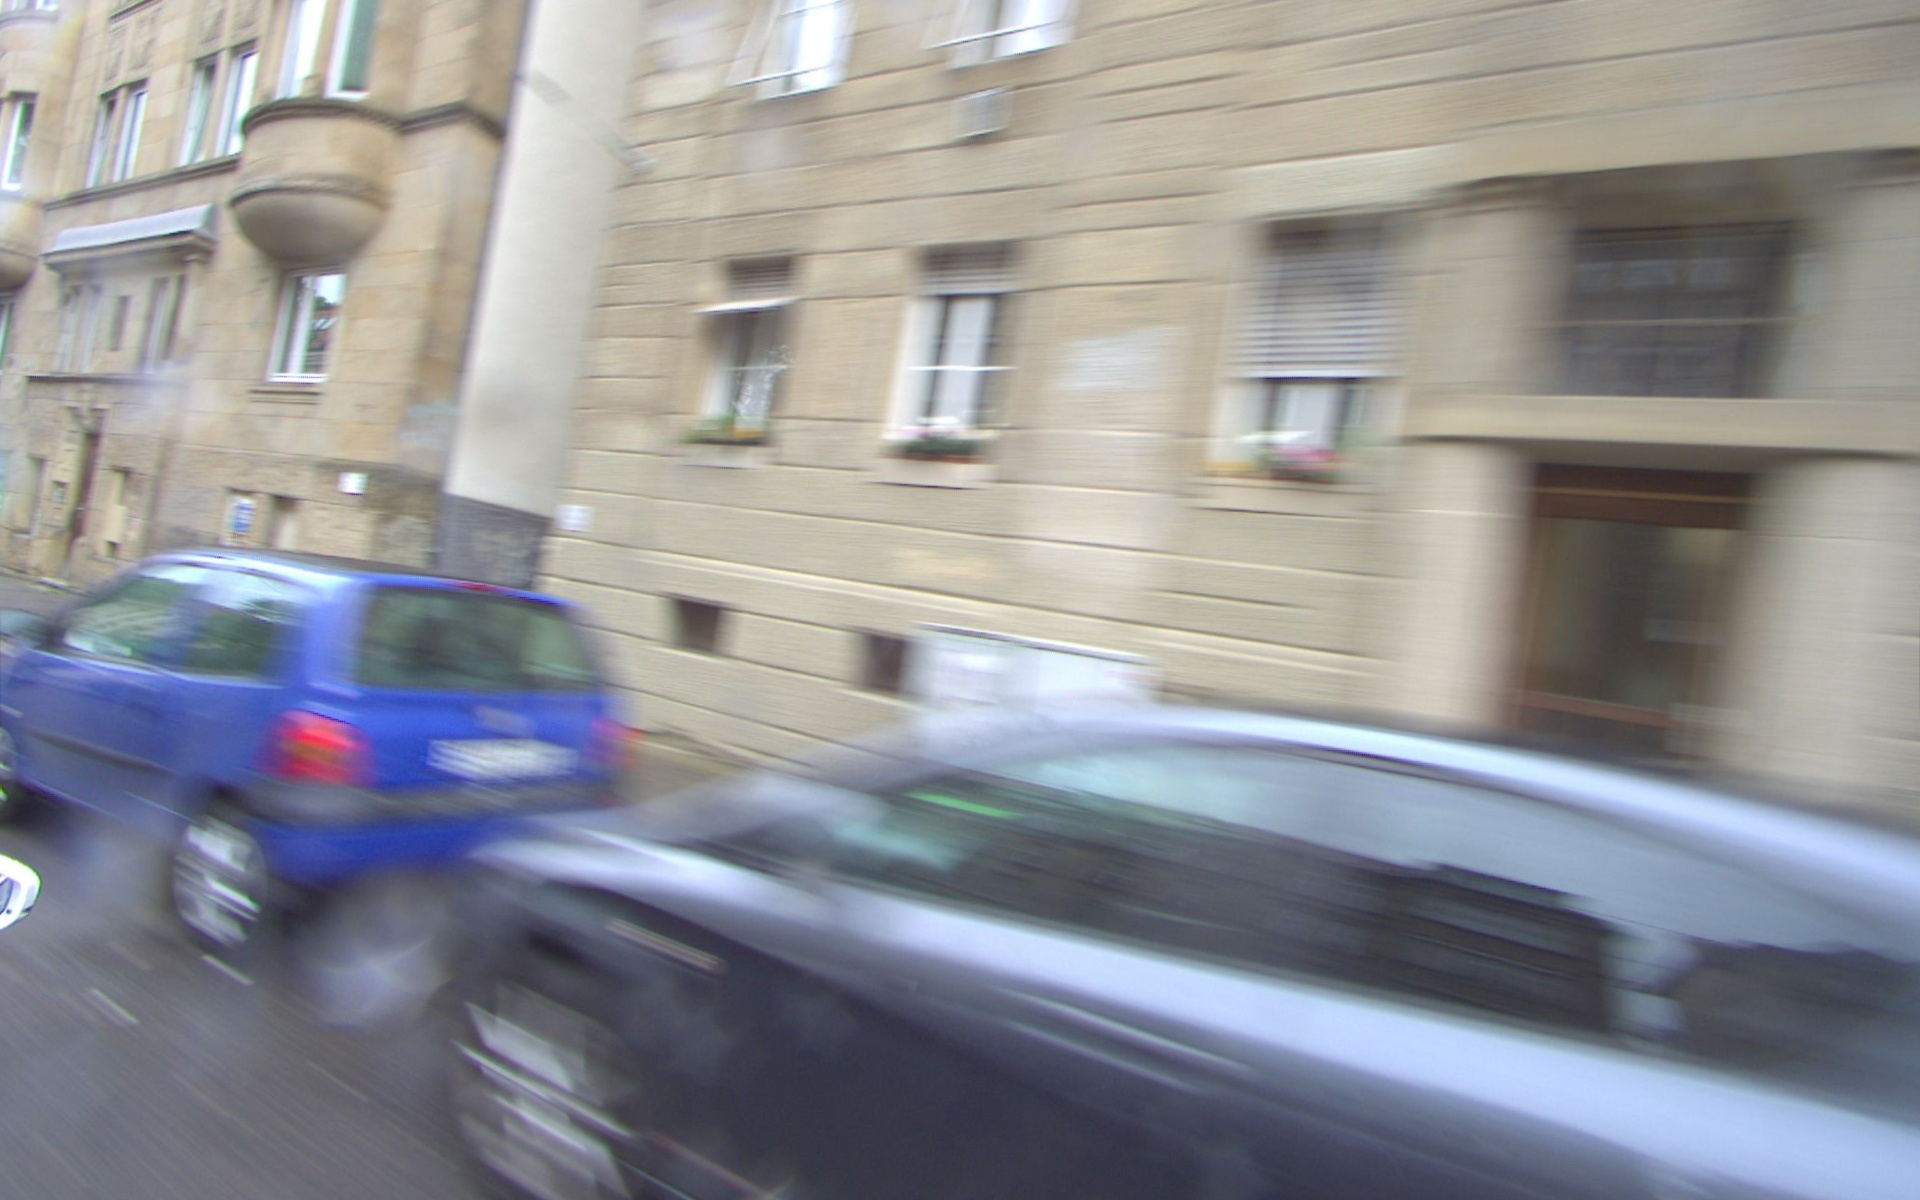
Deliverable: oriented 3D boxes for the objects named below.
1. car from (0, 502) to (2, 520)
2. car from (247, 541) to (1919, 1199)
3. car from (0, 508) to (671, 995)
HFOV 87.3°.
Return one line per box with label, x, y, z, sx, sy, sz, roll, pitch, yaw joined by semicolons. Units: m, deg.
car;-11.181;-0.472;9.812;3.621;1.451;1.594;7;-1;30
car;0.300;0.870;2.512;4.014;1.479;1.792;7;-2;30
car;-3.248;0.476;4.802;3.388;1.431;1.547;7;-2;30
